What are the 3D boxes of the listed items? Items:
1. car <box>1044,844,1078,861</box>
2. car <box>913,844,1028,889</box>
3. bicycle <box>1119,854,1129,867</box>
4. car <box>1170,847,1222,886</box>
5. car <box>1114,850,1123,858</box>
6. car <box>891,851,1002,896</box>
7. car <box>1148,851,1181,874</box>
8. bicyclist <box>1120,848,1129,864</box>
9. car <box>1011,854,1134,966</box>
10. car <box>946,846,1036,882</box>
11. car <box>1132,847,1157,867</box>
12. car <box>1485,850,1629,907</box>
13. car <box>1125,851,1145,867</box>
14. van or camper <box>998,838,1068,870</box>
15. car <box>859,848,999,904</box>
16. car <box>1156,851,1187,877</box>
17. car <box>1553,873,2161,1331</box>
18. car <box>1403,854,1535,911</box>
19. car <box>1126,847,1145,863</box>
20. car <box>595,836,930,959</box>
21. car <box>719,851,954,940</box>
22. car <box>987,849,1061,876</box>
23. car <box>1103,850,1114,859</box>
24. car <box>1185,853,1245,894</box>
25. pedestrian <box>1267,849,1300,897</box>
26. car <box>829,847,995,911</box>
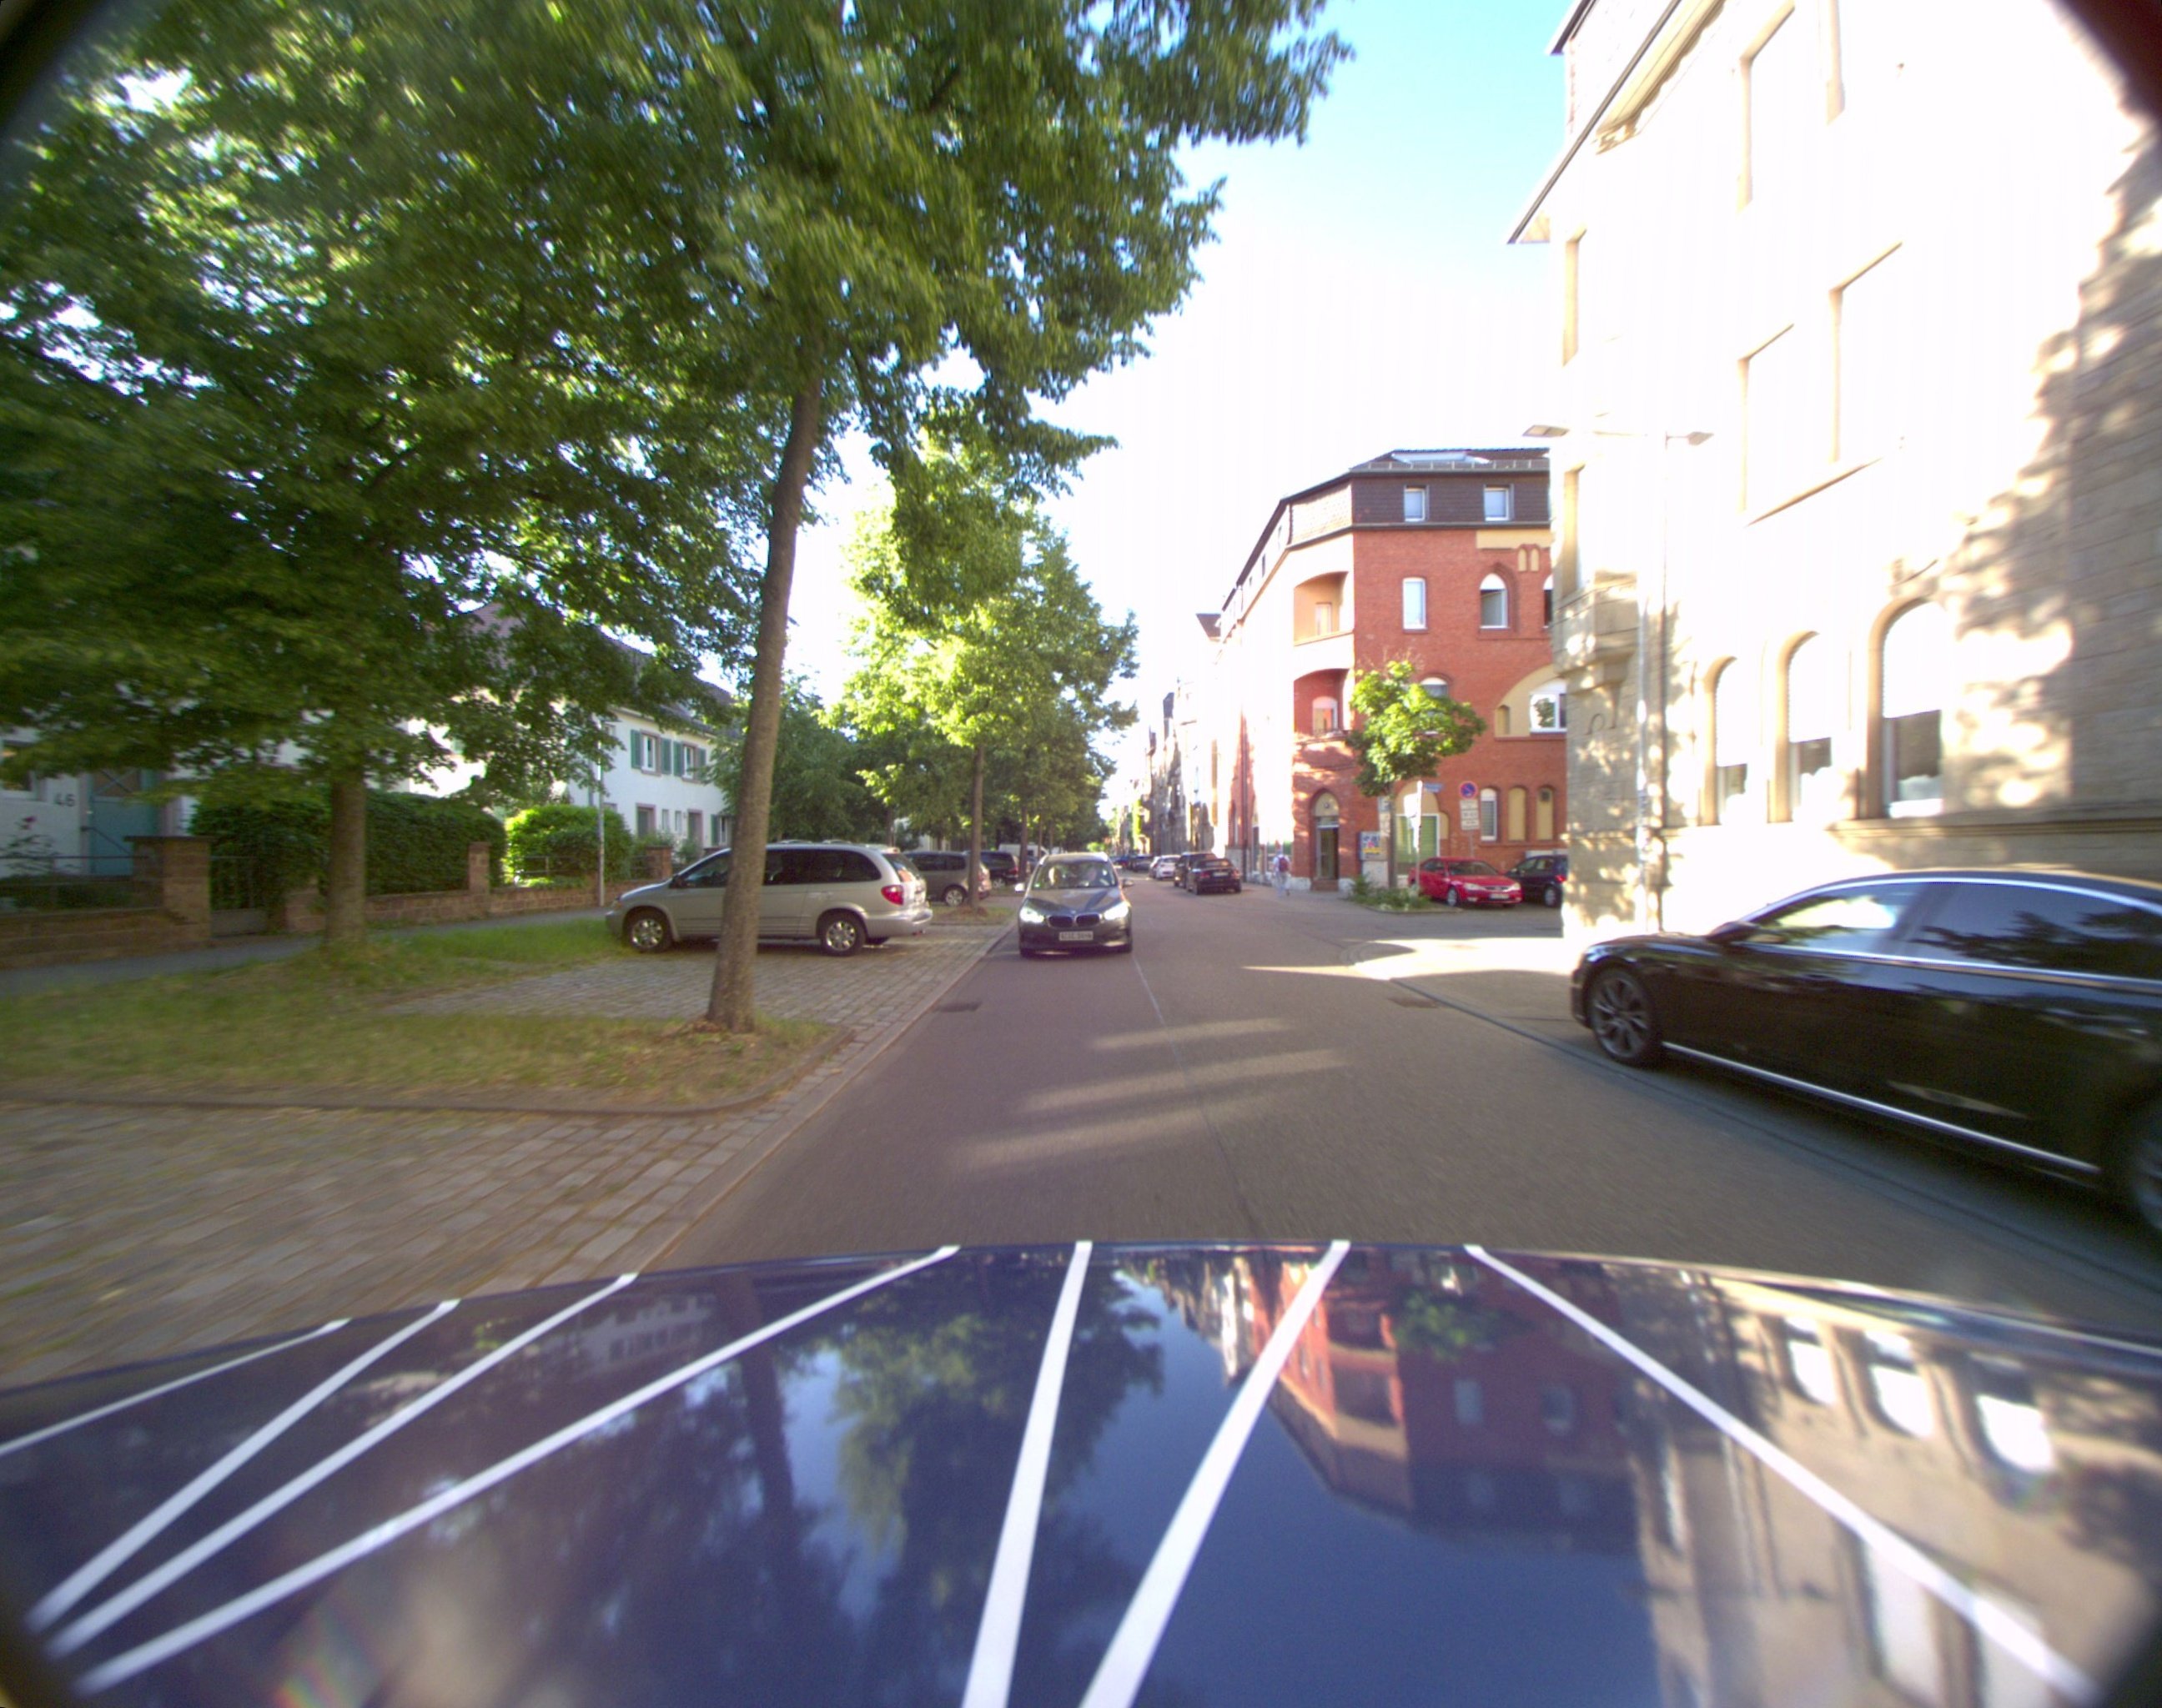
[{"bbox_3d":[-3.316,-0.261,126.469,5.448,2.646,2.134,1,0,1],"label":"car"},{"bbox_3d":[-4.748,0.520,33.160,4.592,1.667,1.907,3,1,3],"label":"car"},{"bbox_3d":[3.916,0.603,69.160,0.759,1.101,1.907,1,1,1],"label":"bicycle"},{"bbox_3d":[5.334,0.543,35.656,1.673,1.671,4.349,-1,1,-1],"label":"car"},{"bbox_3d":[7.492,0.005,151.710,1.710,1.496,3.629,-4,-1,2],"label":"car"},{"bbox_3d":[-4.885,0.701,28.005,3.731,1.445,1.589,3,1,0],"label":"car"},{"bbox_3d":[5.522,0.549,50.511,1.681,1.434,4.111,-2,0,0],"label":"car"},{"bbox_3d":[3.919,0.158,69.216,0.761,1.445,0.948,1,1,1],"label":"bicyclist"},{"bbox_3d":[-0.071,0.833,13.499,1.753,1.596,4.550,-2,0,1],"label":"car"},{"bbox_3d":[-4.756,0.528,40.473,4.487,1.624,1.875,3,1,0],"label":"car"},{"bbox_3d":[5.548,0.260,66.870,1.881,1.707,4.339,-1,0,1],"label":"car"},{"bbox_3d":[14.105,0.656,22.842,1.717,1.541,4.212,0,0,1],"label":"car"},{"bbox_3d":[5.542,0.513,78.352,1.774,1.493,4.211,0,2,0],"label":"car"},{"bbox_3d":[-4.118,-0.016,65.799,5.733,2.502,2.162,3,1,0],"label":"van or camper"},{"bbox_3d":[-5.074,0.718,25.736,4.282,1.624,1.691,3,1,4],"label":"car"},{"bbox_3d":[5.389,0.551,45.492,1.570,1.462,3.592,-1,0,3],"label":"car"},{"bbox_3d":[4.729,0.935,3.687,1.816,1.418,4.897,-3,1,0],"label":"car"},{"bbox_3d":[11.485,0.768,22.892,1.639,1.460,4.657,-1,1,1],"label":"car"},{"bbox_3d":[6.076,0.120,85.257,1.774,1.658,4.212,-1,1,0],"label":"car"},{"bbox_3d":[-4.993,0.646,12.331,4.630,1.700,1.833,2,1,2],"label":"car"},{"bbox_3d":[-4.778,0.788,15.220,4.077,1.468,1.694,3,0,2],"label":"car"},{"bbox_3d":[-3.870,0.569,52.160,4.850,1.530,1.894,3,1,-1],"label":"car"},{"bbox_3d":[4.578,0.094,126.756,1.631,1.469,3.759,1,0,-1],"label":"car"},{"bbox_3d":[5.233,0.710,30.136,1.640,1.402,4.333,-3,1,1],"label":"car"},{"bbox_3d":[6.948,0.631,26.100,0.890,1.568,1.053,-1,2,1],"label":"pedestrian"},{"bbox_3d":[-4.924,0.709,22.658,4.552,1.624,1.811,3,1,-5],"label":"car"}]
